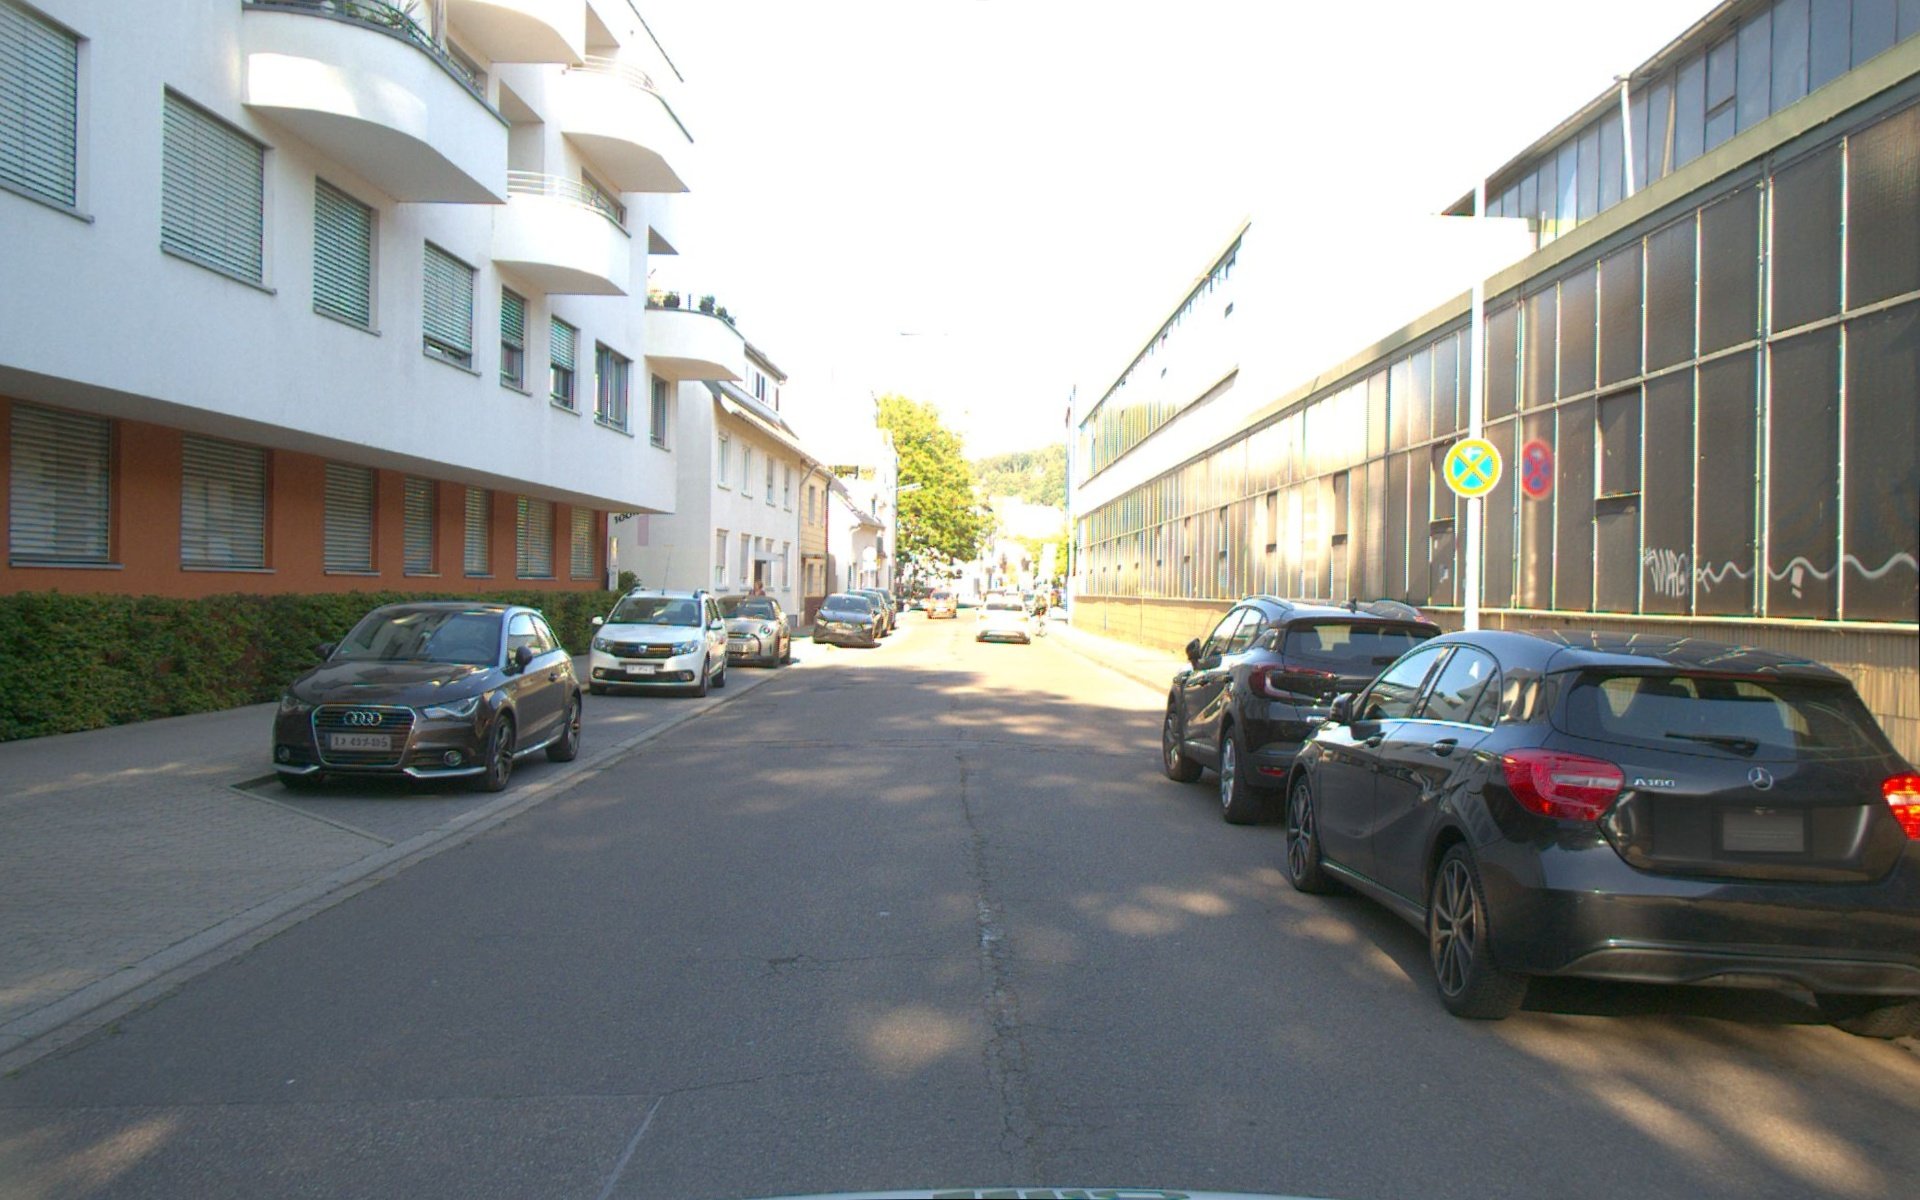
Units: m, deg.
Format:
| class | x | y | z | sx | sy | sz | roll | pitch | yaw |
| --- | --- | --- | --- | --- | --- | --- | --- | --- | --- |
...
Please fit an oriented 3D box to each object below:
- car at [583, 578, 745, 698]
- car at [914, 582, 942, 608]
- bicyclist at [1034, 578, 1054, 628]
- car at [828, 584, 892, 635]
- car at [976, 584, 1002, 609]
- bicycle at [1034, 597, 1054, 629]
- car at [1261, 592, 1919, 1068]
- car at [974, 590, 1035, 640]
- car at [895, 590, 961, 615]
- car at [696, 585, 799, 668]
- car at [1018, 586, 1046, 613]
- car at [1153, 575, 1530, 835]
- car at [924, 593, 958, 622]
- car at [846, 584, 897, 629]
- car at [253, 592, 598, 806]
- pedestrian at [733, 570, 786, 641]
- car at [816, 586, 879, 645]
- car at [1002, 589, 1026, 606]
| class | x | y | z | sx | sy | sz | roll | pitch | yaw |
| --- | --- | --- | --- | --- | --- | --- | --- | --- | --- |
| car | -4.475 | 0.537 | 25.650 | 1.821 | 1.614 | 4.619 | 3 | 0 | -3 |
| car | -2.338 | -0.348 | 121.709 | 1.814 | 1.822 | 4.609 | 2 | 1 | 2 |
| bicyclist | 3.156 | 0.114 | 62.193 | 0.684 | 1.821 | 1.041 | 2 | 0 | 2 |
| car | -3.489 | 0.306 | 58.312 | 1.819 | 1.614 | 4.337 | 3 | 1 | 1 |
| car | 2.207 | -0.280 | 127.987 | 1.815 | 1.822 | 4.606 | 2 | 1 | -1 |
| bicycle | 3.147 | 0.494 | 62.160 | 0.684 | 1.150 | 2.403 | 2 | 0 | 2 |
| car | 2.730 | 0.780 | 7.814 | 1.715 | 1.517 | 4.621 | 3 | 0 | 0 |
| car | 1.418 | 0.478 | 53.886 | 1.804 | 1.517 | 4.144 | 2 | 0 | 0 |
| car | -2.103 | 0.150 | 107.929 | 4.043 | 1.517 | 1.849 | 2 | 0 | 7 |
| car | -4.432 | 0.530 | 34.925 | 1.633 | 1.562 | 3.856 | 3 | 0 | 0 |
| car | 4.518 | -0.027 | 104.458 | 1.596 | 1.615 | 4.069 | -2 | 0 | 0 |
| car | 2.756 | 0.691 | 13.015 | 1.771 | 1.614 | 4.403 | 3 | 0 | -2 |
| car | -1.023 | 0.404 | 90.563 | 1.804 | 1.517 | 4.144 | 2 | 0 | 0 |
| car | -3.556 | 0.236 | 67.168 | 1.772 | 1.614 | 4.193 | 3 | 2 | 0 |
| car | -4.254 | 0.715 | 13.776 | 1.640 | 1.458 | 3.770 | 3 | 0 | -1 |
| pedestrian | -5.495 | 0.149 | 45.353 | 0.844 | 1.850 | 1.131 | 5 | 1 | 24 |
| car | -3.228 | 0.433 | 47.874 | 1.651 | 1.562 | 4.332 | 3 | 0 | -3 |
| car | 4.868 | -0.216 | 149.028 | 1.803 | 1.517 | 4.147 | 2 | 0 | 6 |
